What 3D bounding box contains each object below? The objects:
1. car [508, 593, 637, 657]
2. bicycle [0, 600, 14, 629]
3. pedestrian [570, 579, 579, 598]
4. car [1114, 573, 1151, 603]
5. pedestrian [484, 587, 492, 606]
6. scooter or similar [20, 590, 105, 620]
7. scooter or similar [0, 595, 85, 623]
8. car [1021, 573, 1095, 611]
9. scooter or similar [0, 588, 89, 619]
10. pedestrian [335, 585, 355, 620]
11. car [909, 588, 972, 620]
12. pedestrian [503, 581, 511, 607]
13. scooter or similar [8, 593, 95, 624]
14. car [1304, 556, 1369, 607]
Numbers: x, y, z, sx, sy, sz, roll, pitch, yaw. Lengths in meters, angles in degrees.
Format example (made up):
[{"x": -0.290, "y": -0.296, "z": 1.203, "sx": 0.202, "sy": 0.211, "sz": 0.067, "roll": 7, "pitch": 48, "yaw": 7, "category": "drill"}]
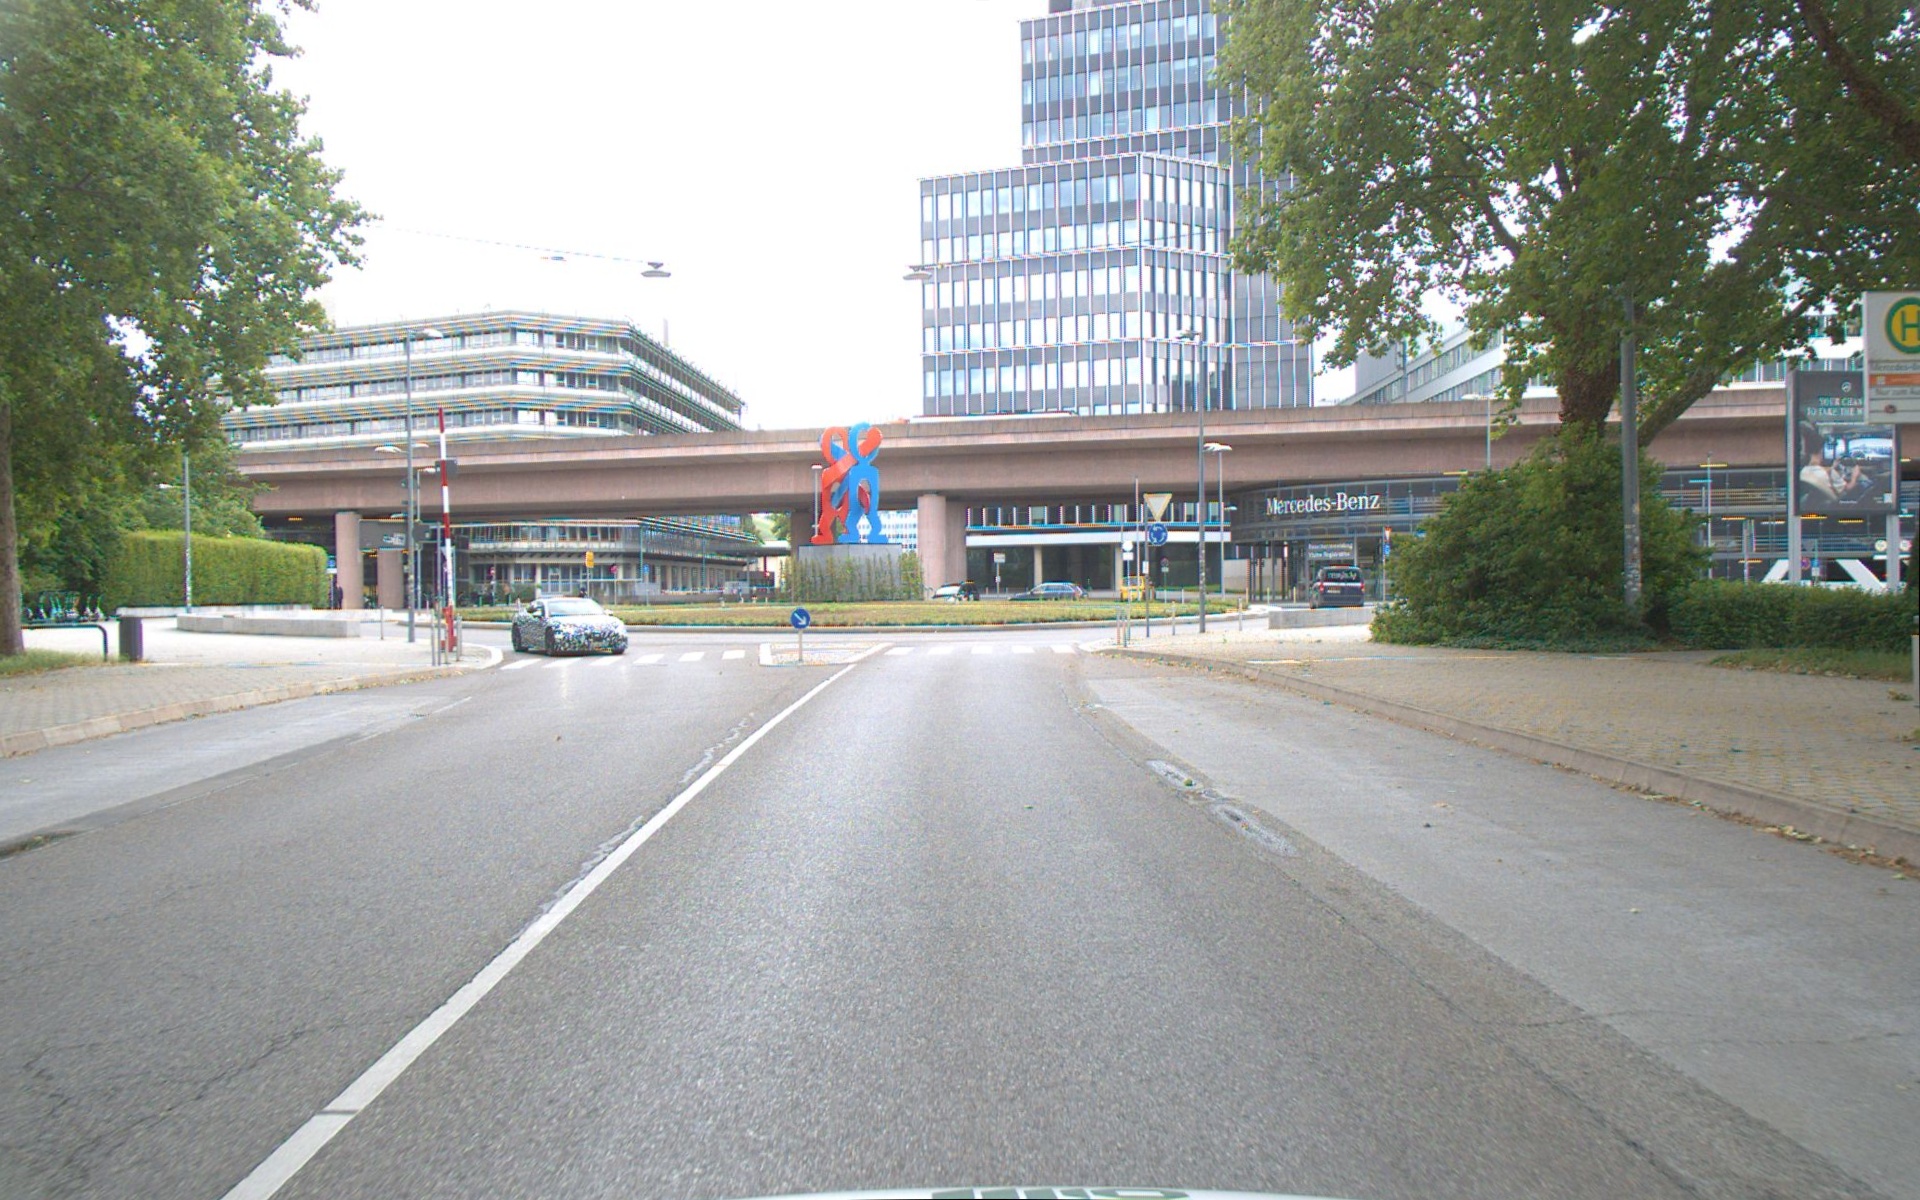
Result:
[{"x": -10.185, "y": 0.630, "z": 43.204, "sx": 1.882, "sy": 1.478, "sz": 4.763, "roll": -3, "pitch": 1, "yaw": -31, "category": "car"}, {"x": -37.994, "y": 0.547, "z": 63.185, "sx": 3.132, "sy": 1.116, "sz": 0.769, "roll": 0, "pitch": 0, "yaw": -18, "category": "bicycle"}, {"x": -41.823, "y": -1.255, "z": 179.334, "sx": 0.760, "sy": 2.049, "sz": 0.670, "roll": -1, "pitch": 0, "yaw": -2, "category": "pedestrian"}, {"x": 12.111, "y": -0.853, "z": 115.971, "sx": 1.951, "sy": 2.049, "sz": 4.003, "roll": 0, "pitch": 0, "yaw": 15, "category": "car"}, {"x": -51.243, "y": -0.416, "z": 179.618, "sx": 0.766, "sy": 2.049, "sz": 0.665, "roll": 0, "pitch": 0, "yaw": -26, "category": "pedestrian"}, {"x": -39.091, "y": 0.202, "z": 72.095, "sx": 3.132, "sy": 1.271, "sz": 0.769, "roll": 0, "pitch": 0, "yaw": -18, "category": "scooter or similar"}, {"x": -37.659, "y": 0.376, "z": 67.693, "sx": 3.132, "sy": 1.116, "sz": 0.769, "roll": 0, "pitch": 0, "yaw": -18, "category": "scooter or similar"}, {"x": 5.245, "y": -0.418, "z": 88.347, "sx": 3.642, "sy": 1.959, "sz": 1.923, "roll": 0, "pitch": 0, "yaw": 15, "category": "car"}, {"x": -37.952, "y": 0.128, "z": 68.589, "sx": 3.132, "sy": 1.271, "sz": 0.769, "roll": 0, "pitch": 0, "yaw": -18, "category": "scooter or similar"}, {"x": -35.916, "y": 0.147, "z": 96.537, "sx": 1.025, "sy": 2.049, "sz": 0.597, "roll": 0, "pitch": 0, "yaw": -14, "category": "pedestrian"}, {"x": -1.130, "y": 0.223, "z": 98.131, "sx": 1.957, "sy": 1.803, "sz": 3.991, "roll": 0, "pitch": 0, "yaw": 31, "category": "car"}, {"x": -36.260, "y": -0.483, "z": 132.493, "sx": 0.578, "sy": 2.049, "sz": 0.597, "roll": 0, "pitch": 0, "yaw": -14, "category": "pedestrian"}, {"x": -38.240, "y": 0.342, "z": 69.671, "sx": 3.132, "sy": 1.271, "sz": 0.769, "roll": 0, "pitch": 0, "yaw": -18, "category": "scooter or similar"}, {"x": 15.485, "y": -0.745, "z": 68.265, "sx": 2.227, "sy": 2.049, "sz": 4.787, "roll": 0, "pitch": 0, "yaw": 8, "category": "car"}]
